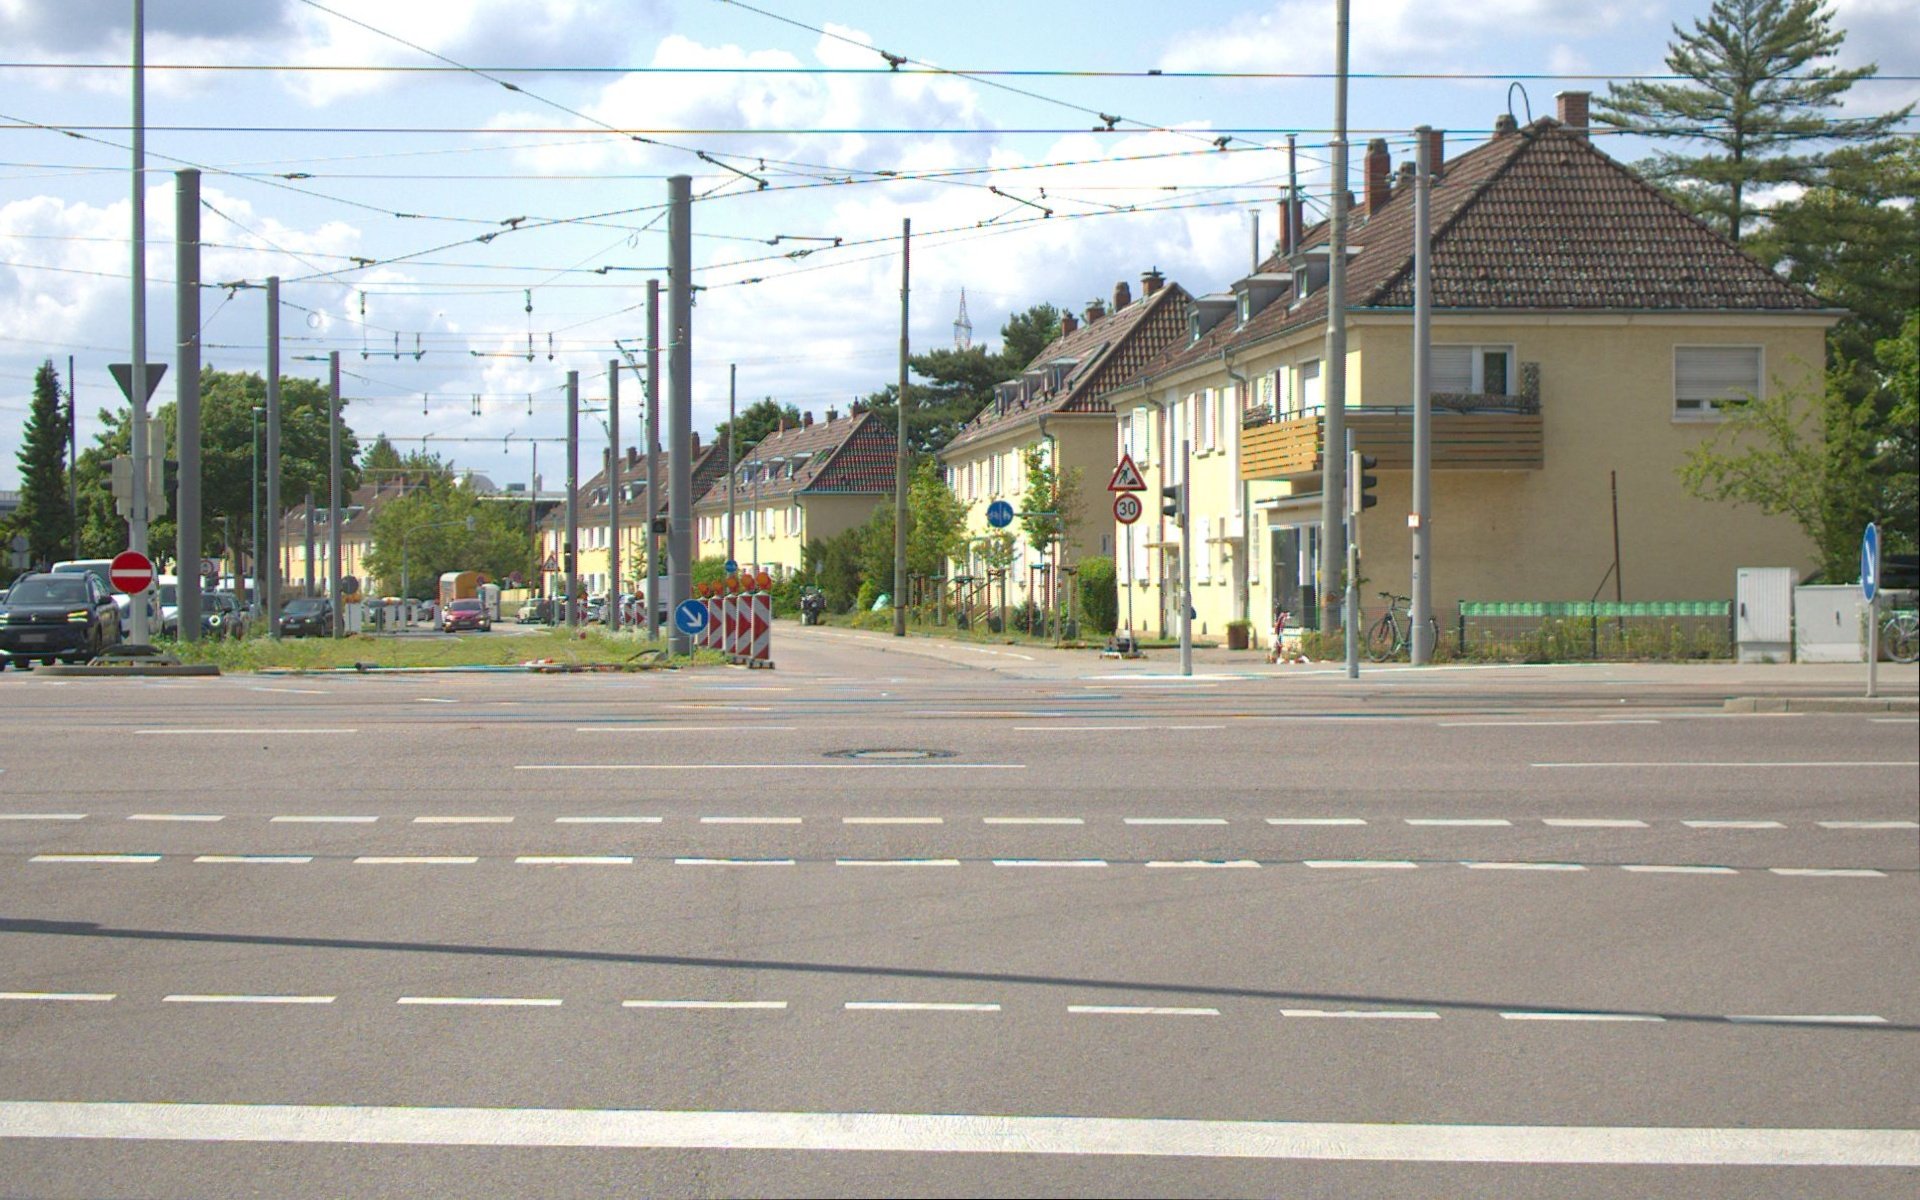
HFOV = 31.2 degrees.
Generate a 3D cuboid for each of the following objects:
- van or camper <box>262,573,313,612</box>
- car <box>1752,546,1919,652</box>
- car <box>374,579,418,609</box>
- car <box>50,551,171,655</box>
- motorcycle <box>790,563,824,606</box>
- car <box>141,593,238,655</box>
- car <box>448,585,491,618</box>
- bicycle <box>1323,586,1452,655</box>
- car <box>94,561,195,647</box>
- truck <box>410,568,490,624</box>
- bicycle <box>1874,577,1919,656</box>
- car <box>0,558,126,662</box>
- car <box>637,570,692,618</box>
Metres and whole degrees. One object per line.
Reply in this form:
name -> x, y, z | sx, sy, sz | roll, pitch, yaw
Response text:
van or camper -> -48.851, -0.573, 249.585 | 2.691, 2.693, 6.520 | -1, 1, -19
car -> 14.425, 0.011, 55.400 | 1.821, 1.615, 4.001 | 0, -1, -10
car -> -36.458, -0.407, 222.084 | 1.993, 1.904, 4.001 | -1, 1, -22
car -> -16.254, 0.053, 65.978 | 1.814, 1.915, 4.749 | 0, 0, -9
motorcycle -> -5.874, -0.605, 132.034 | 1.066, 1.630, 2.084 | 0, 0, -8
car -> -18.075, 0.545, 80.798 | 1.914, 1.414, 4.001 | 0, 0, -8
car -> -22.311, 0.056, 156.403 | 1.843, 1.489, 4.857 | 0, 0, -7
bicycle -> 6.897, 0.331, 55.532 | 0.593, 1.093, 2.276 | 0, 0, -40
car -> -17.481, 0.080, 73.849 | 1.732, 1.776, 4.406 | -1, 0, -9
truck -> -32.316, -0.251, 217.533 | 2.640, 3.482, 9.439 | 0, 0, -24
bicycle -> 13.867, 0.226, 48.381 | 1.806, 1.101, 0.701 | 0, 0, 39
car -> -15.643, 0.142, 59.562 | 1.786, 1.715, 4.442 | 0, 1, -7
car -> -13.557, -0.284, 157.279 | 2.065, 2.142, 4.879 | 0, 0, -10
